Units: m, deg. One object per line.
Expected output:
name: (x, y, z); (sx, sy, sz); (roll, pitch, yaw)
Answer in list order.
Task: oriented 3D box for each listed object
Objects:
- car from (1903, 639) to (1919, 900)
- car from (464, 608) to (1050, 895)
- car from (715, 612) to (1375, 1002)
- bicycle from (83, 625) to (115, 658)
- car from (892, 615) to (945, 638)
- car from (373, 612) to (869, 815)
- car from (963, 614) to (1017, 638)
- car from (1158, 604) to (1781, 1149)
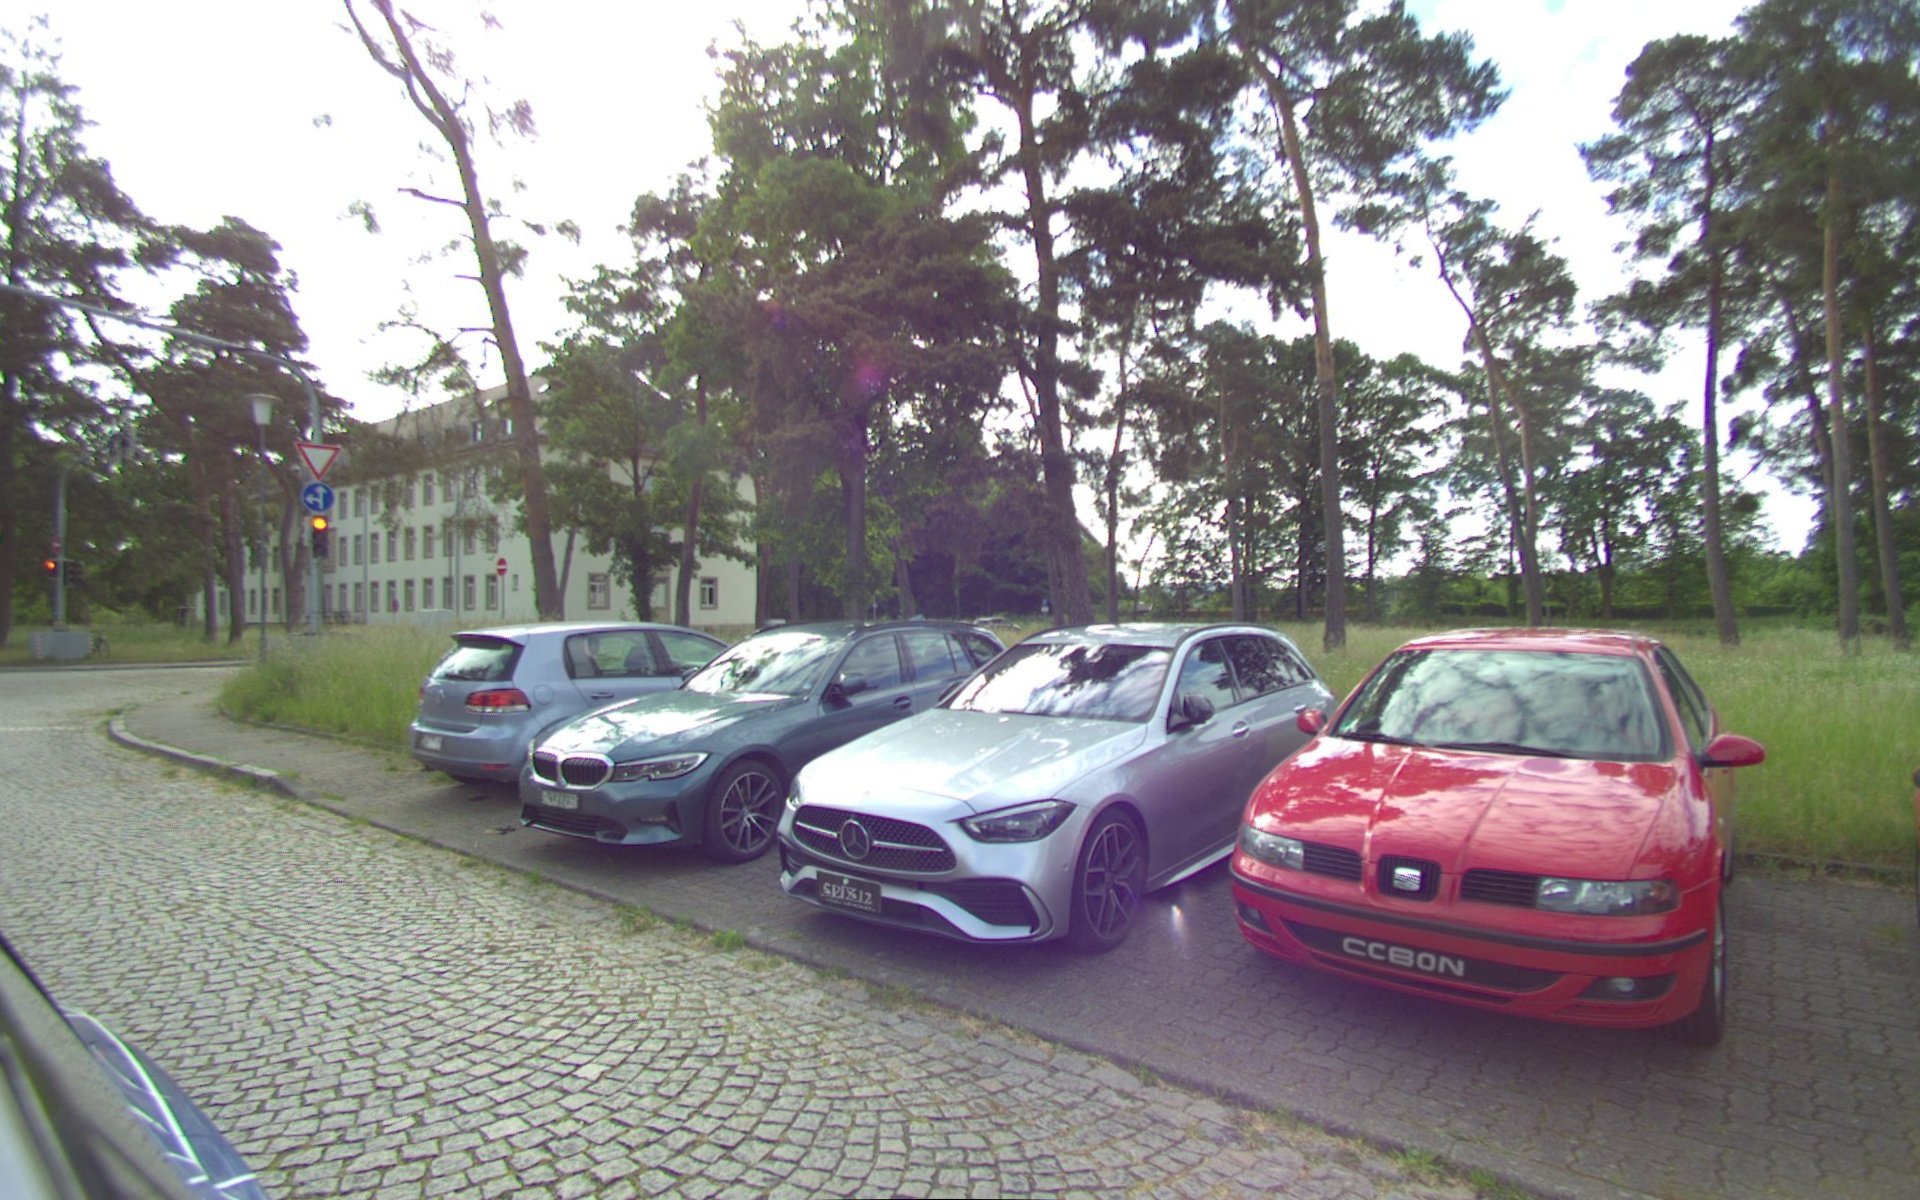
car: (4.496, 0.838, 3.284); (1.762, 1.293, 4.091); (-1, -1, 39)
car: (-1.226, 0.852, 7.929); (1.866, 1.548, 4.462); (0, 0, 35)
car: (0.876, 0.832, 6.262); (1.948, 1.466, 4.392); (0, 0, 39)
bicycle: (-29.688, 1.418, 34.882); (1.414, 1.082, 0.492); (-1, 2, 36)
car: (-3.151, 1.975, 77.414); (1.717, 1.622, 4.001); (1, 0, 42)
car: (-3.046, 0.880, 9.856); (1.826, 1.481, 4.285); (0, 0, 40)
car: (2.152, 1.834, 72.200); (1.716, 1.622, 4.003); (1, 0, 41)
car: (2.808, 0.772, 4.988); (1.853, 1.466, 4.212); (-1, -1, 39)
